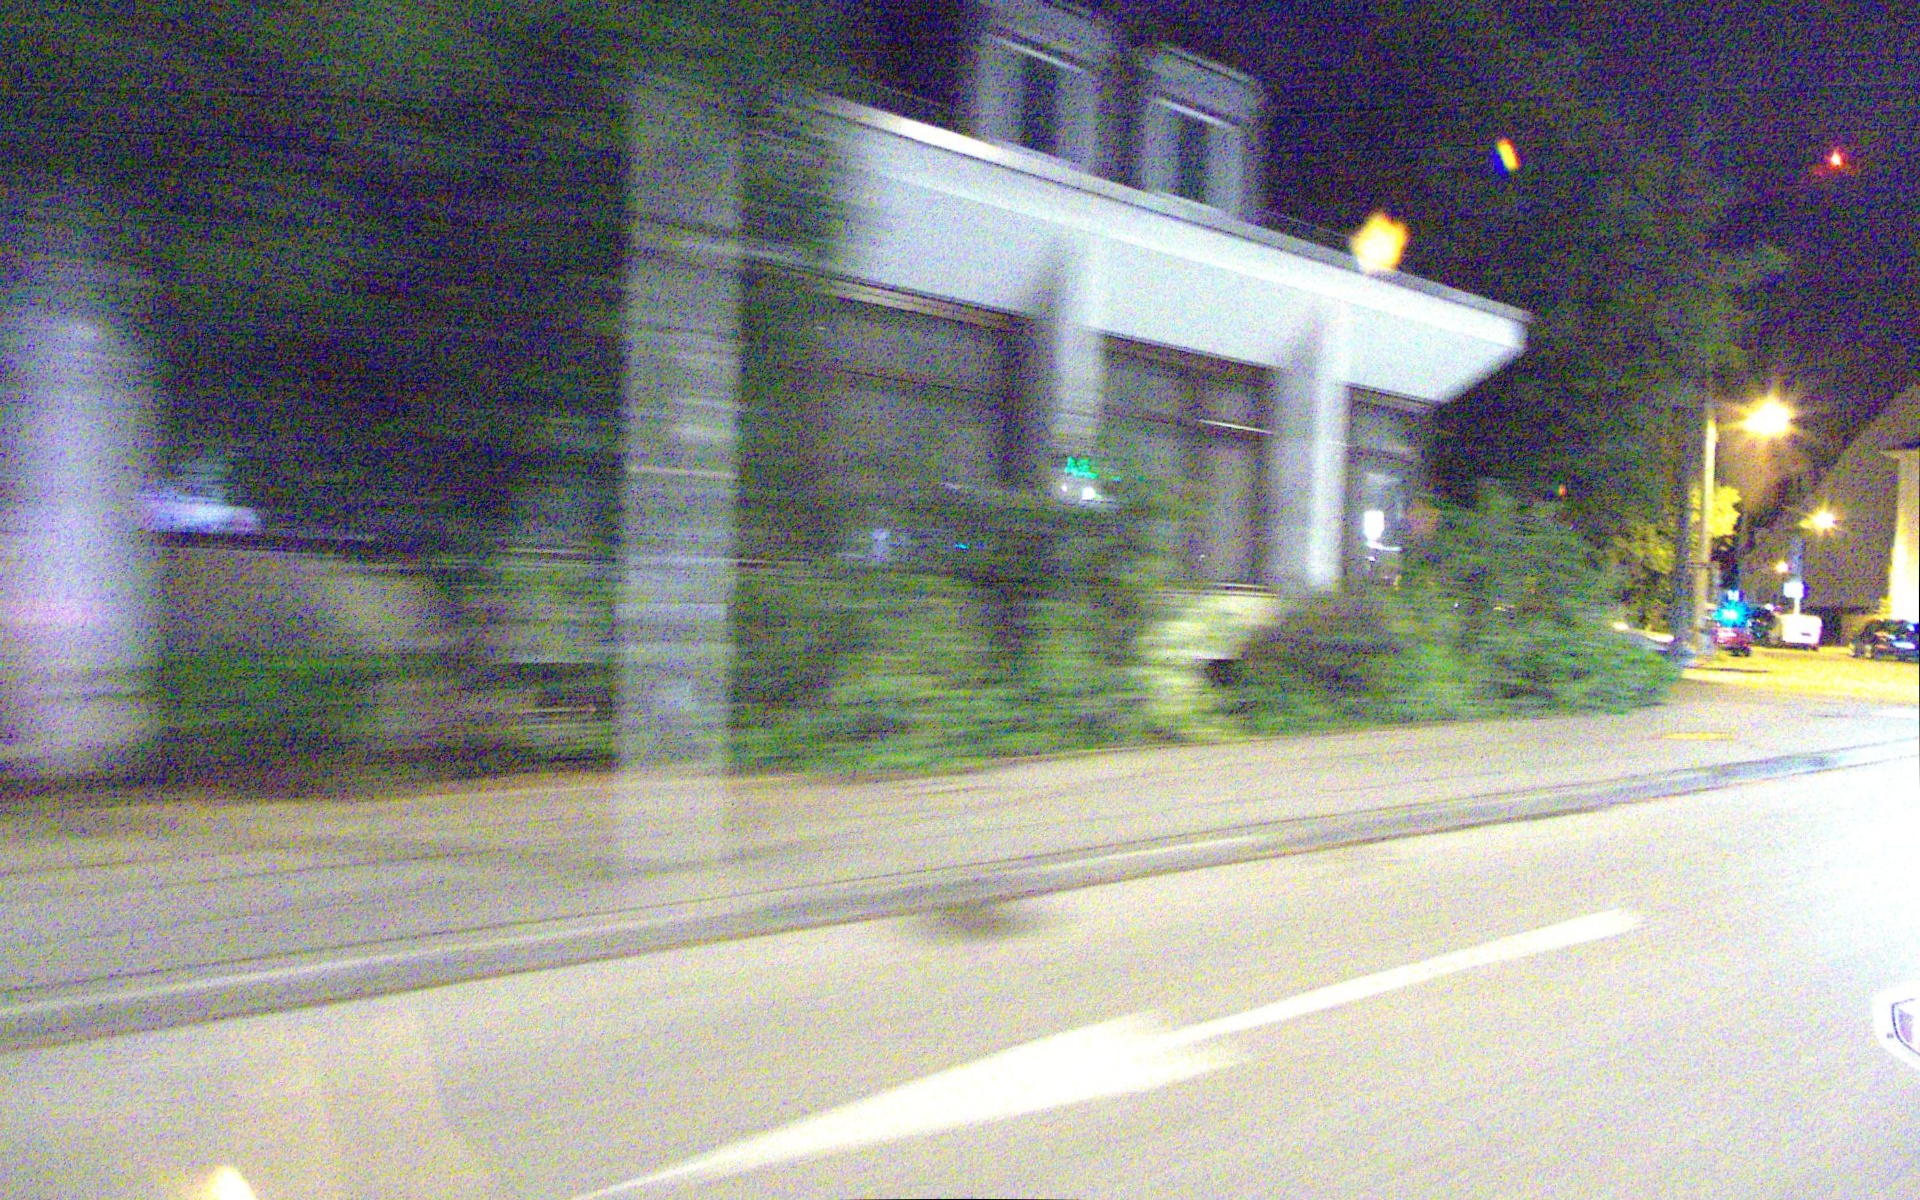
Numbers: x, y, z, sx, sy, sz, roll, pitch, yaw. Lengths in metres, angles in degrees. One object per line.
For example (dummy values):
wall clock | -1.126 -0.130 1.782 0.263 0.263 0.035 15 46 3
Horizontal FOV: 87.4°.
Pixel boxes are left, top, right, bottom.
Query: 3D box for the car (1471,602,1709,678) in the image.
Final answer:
car | 15.599 0.937 25.135 1.981 1.650 4.635 2 0 -31

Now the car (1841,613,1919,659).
car | 37.530 1.422 40.759 1.886 1.666 4.102 5 2 31

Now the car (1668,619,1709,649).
car | 39.232 1.792 54.170 1.579 1.509 3.547 0 0 33

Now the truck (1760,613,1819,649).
truck | 45.298 1.706 54.917 1.863 1.831 4.104 2 -1 32

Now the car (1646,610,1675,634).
car | 56.463 1.757 81.017 1.770 1.833 3.989 2 0 33

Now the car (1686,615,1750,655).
car | 33.298 1.524 44.227 1.810 1.634 4.251 0 -1 31

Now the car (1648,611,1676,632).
car | 60.334 1.849 86.297 1.873 1.758 3.986 2 -1 36
